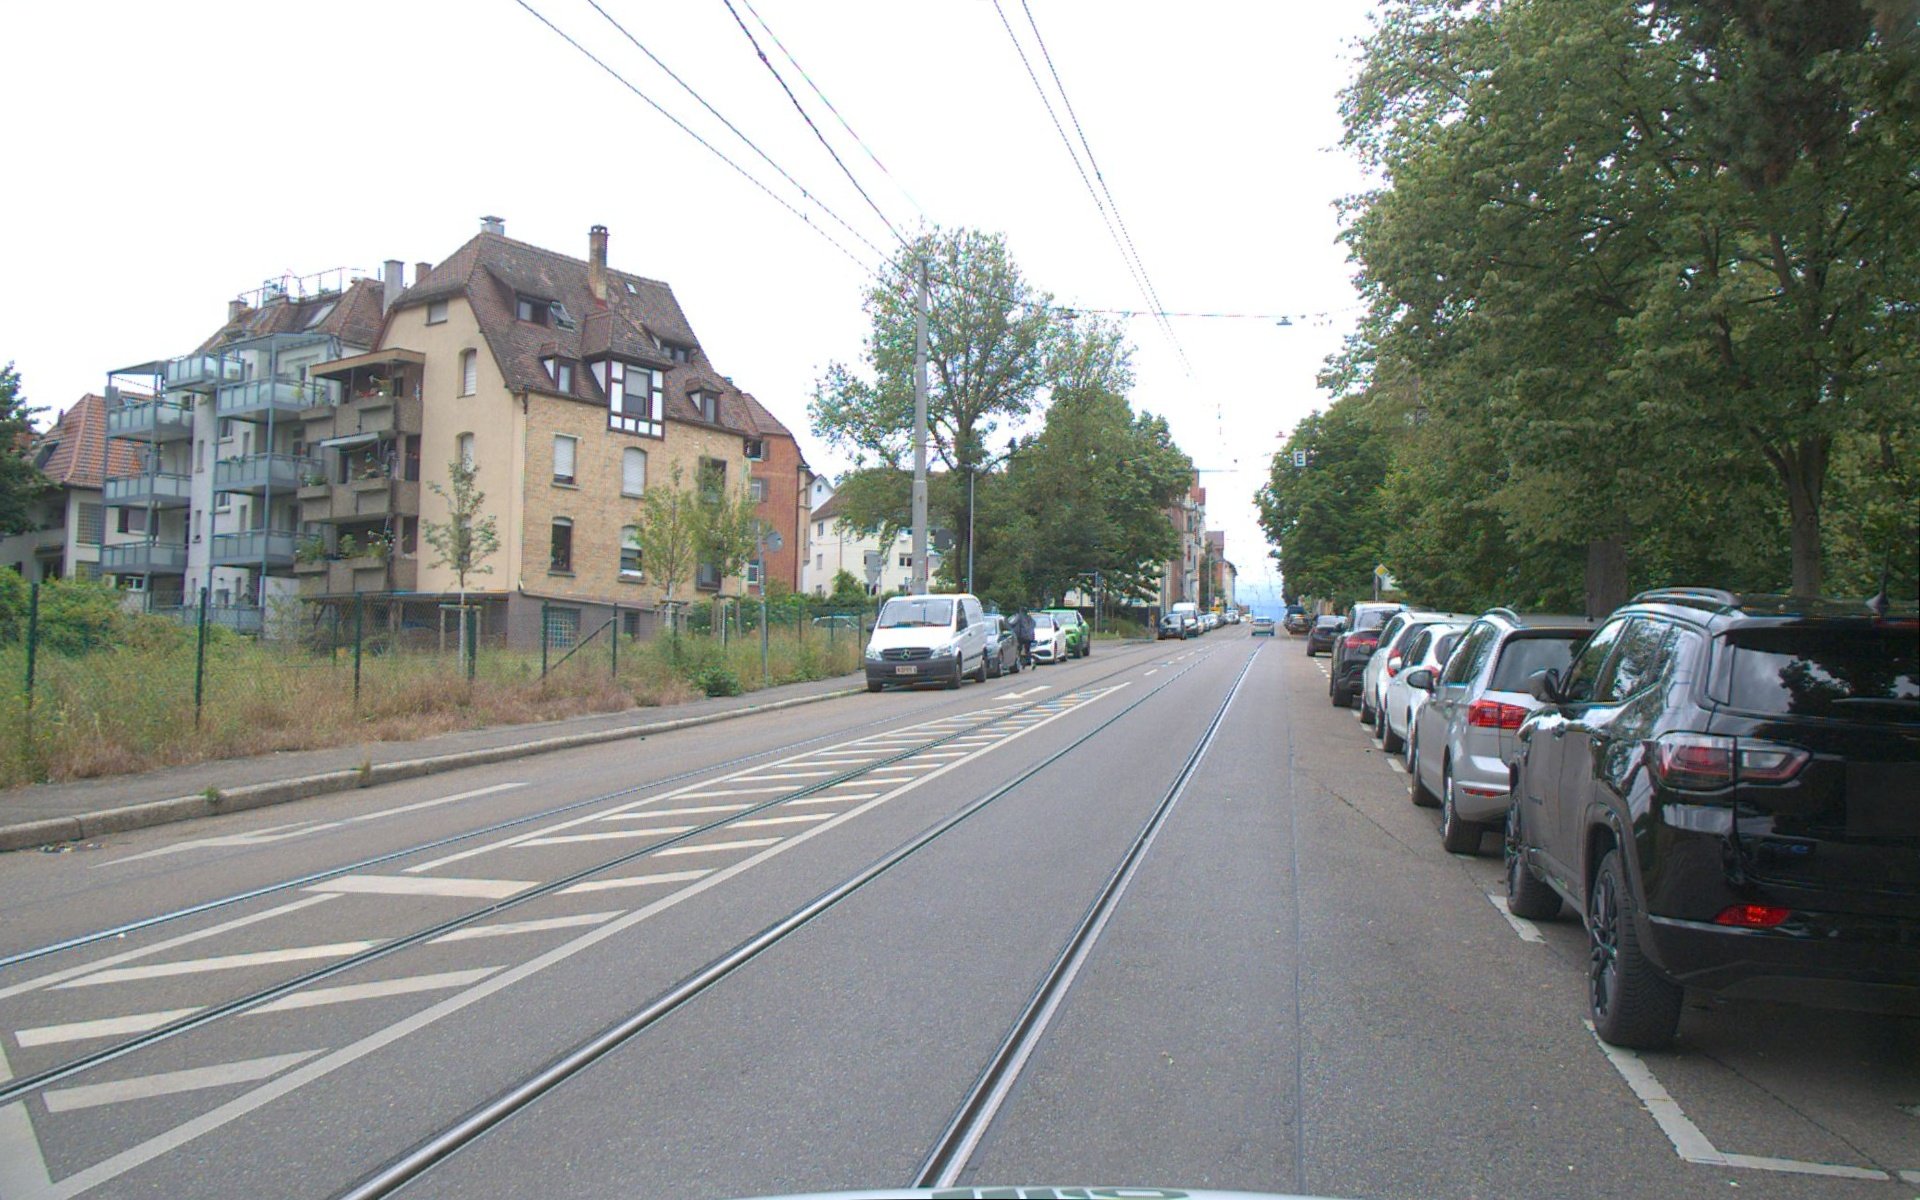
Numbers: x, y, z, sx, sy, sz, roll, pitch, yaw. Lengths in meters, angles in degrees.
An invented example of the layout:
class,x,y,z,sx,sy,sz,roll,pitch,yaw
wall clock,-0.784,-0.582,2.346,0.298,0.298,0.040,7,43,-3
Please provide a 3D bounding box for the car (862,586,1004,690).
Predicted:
class,x,y,z,sx,sy,sz,roll,pitch,yaw
car,-0.468,0.791,34.205,1.992,1.914,4.889,-2,-2,10

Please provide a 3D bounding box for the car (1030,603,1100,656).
class,x,y,z,sx,sy,sz,roll,pitch,yaw
car,3.432,0.939,53.263,1.686,1.607,4.184,-1,-1,11

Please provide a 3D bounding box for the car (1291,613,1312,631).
class,x,y,z,sx,sy,sz,roll,pitch,yaw
car,32.999,2.157,159.989,1.951,1.747,4.003,0,-1,12

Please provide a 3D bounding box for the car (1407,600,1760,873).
class,x,y,z,sx,sy,sz,roll,pitch,yaw
car,4.347,0.839,12.184,1.697,1.603,4.368,1,-1,11

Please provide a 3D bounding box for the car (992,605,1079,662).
class,x,y,z,sx,sy,sz,roll,pitch,yaw
car,2.242,0.971,48.011,1.844,1.553,4.667,-1,-1,11

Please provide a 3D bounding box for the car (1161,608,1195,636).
class,x,y,z,sx,sy,sz,roll,pitch,yaw
car,14.911,1.513,113.105,1.951,1.840,4.003,1,-1,12

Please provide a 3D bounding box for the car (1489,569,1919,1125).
class,x,y,z,sx,sy,sz,roll,pitch,yaw
car,3.510,0.771,7.163,1.863,1.643,4.603,2,0,12

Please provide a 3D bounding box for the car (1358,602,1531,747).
class,x,y,z,sx,sy,sz,roll,pitch,yaw
car,6.451,0.923,22.426,1.690,1.659,4.091,4,0,10

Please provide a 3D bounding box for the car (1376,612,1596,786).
class,x,y,z,sx,sy,sz,roll,pitch,yaw
car,5.463,0.942,17.629,1.595,1.543,4.067,3,0,9

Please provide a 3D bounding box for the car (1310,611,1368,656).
class,x,y,z,sx,sy,sz,roll,pitch,yaw
car,13.325,1.160,58.330,1.789,1.455,4.851,2,0,11

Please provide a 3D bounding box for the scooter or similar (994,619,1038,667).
class,x,y,z,sx,sy,sz,roll,pitch,yaw
scooter or similar,1.450,1.119,42.933,0.799,1.217,0.828,2,-2,-37

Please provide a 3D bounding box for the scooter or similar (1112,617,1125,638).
class,x,y,z,sx,sy,sz,roll,pitch,yaw
scooter or similar,10.420,1.831,108.851,0.676,1.362,1.640,1,-1,12

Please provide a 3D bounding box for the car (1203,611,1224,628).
class,x,y,z,sx,sy,sz,roll,pitch,yaw
car,26.120,1.996,170.395,1.883,1.629,4.003,1,-1,11

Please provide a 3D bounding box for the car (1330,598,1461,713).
class,x,y,z,sx,sy,sz,roll,pitch,yaw
car,7.375,0.874,28.393,1.837,1.707,5.067,2,0,12

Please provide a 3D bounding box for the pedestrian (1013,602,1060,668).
class,x,y,z,sx,sy,sz,roll,pitch,yaw
pedestrian,1.951,0.895,42.268,0.798,1.657,0.904,2,-2,-37

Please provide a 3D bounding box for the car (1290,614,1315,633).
class,x,y,z,sx,sy,sz,roll,pitch,yaw
car,28.975,2.024,139.900,1.951,1.557,4.315,1,-1,12

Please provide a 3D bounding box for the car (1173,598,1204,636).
class,x,y,z,sx,sy,sz,roll,pitch,yaw
car,17.630,1.328,127.358,2.183,2.813,5.804,1,-1,9

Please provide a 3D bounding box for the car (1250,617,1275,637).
class,x,y,z,sx,sy,sz,roll,pitch,yaw
car,24.290,2.157,132.637,1.951,1.525,4.315,1,-1,11

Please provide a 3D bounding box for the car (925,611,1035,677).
class,x,y,z,sx,sy,sz,roll,pitch,yaw
car,0.542,1.015,39.830,1.855,1.458,4.515,-1,0,11

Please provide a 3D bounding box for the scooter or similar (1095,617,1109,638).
class,x,y,z,sx,sy,sz,roll,pitch,yaw
scooter or similar,9.377,1.814,109.088,0.676,1.362,1.640,1,-1,12

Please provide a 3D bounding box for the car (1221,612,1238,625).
class,x,y,z,sx,sy,sz,roll,pitch,yaw
car,34.068,2.344,209.148,1.951,1.629,4.003,1,-1,11

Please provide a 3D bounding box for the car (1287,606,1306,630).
class,x,y,z,sx,sy,sz,roll,pitch,yaw
car,36.237,1.956,178.030,1.951,2.620,4.708,0,-1,12
